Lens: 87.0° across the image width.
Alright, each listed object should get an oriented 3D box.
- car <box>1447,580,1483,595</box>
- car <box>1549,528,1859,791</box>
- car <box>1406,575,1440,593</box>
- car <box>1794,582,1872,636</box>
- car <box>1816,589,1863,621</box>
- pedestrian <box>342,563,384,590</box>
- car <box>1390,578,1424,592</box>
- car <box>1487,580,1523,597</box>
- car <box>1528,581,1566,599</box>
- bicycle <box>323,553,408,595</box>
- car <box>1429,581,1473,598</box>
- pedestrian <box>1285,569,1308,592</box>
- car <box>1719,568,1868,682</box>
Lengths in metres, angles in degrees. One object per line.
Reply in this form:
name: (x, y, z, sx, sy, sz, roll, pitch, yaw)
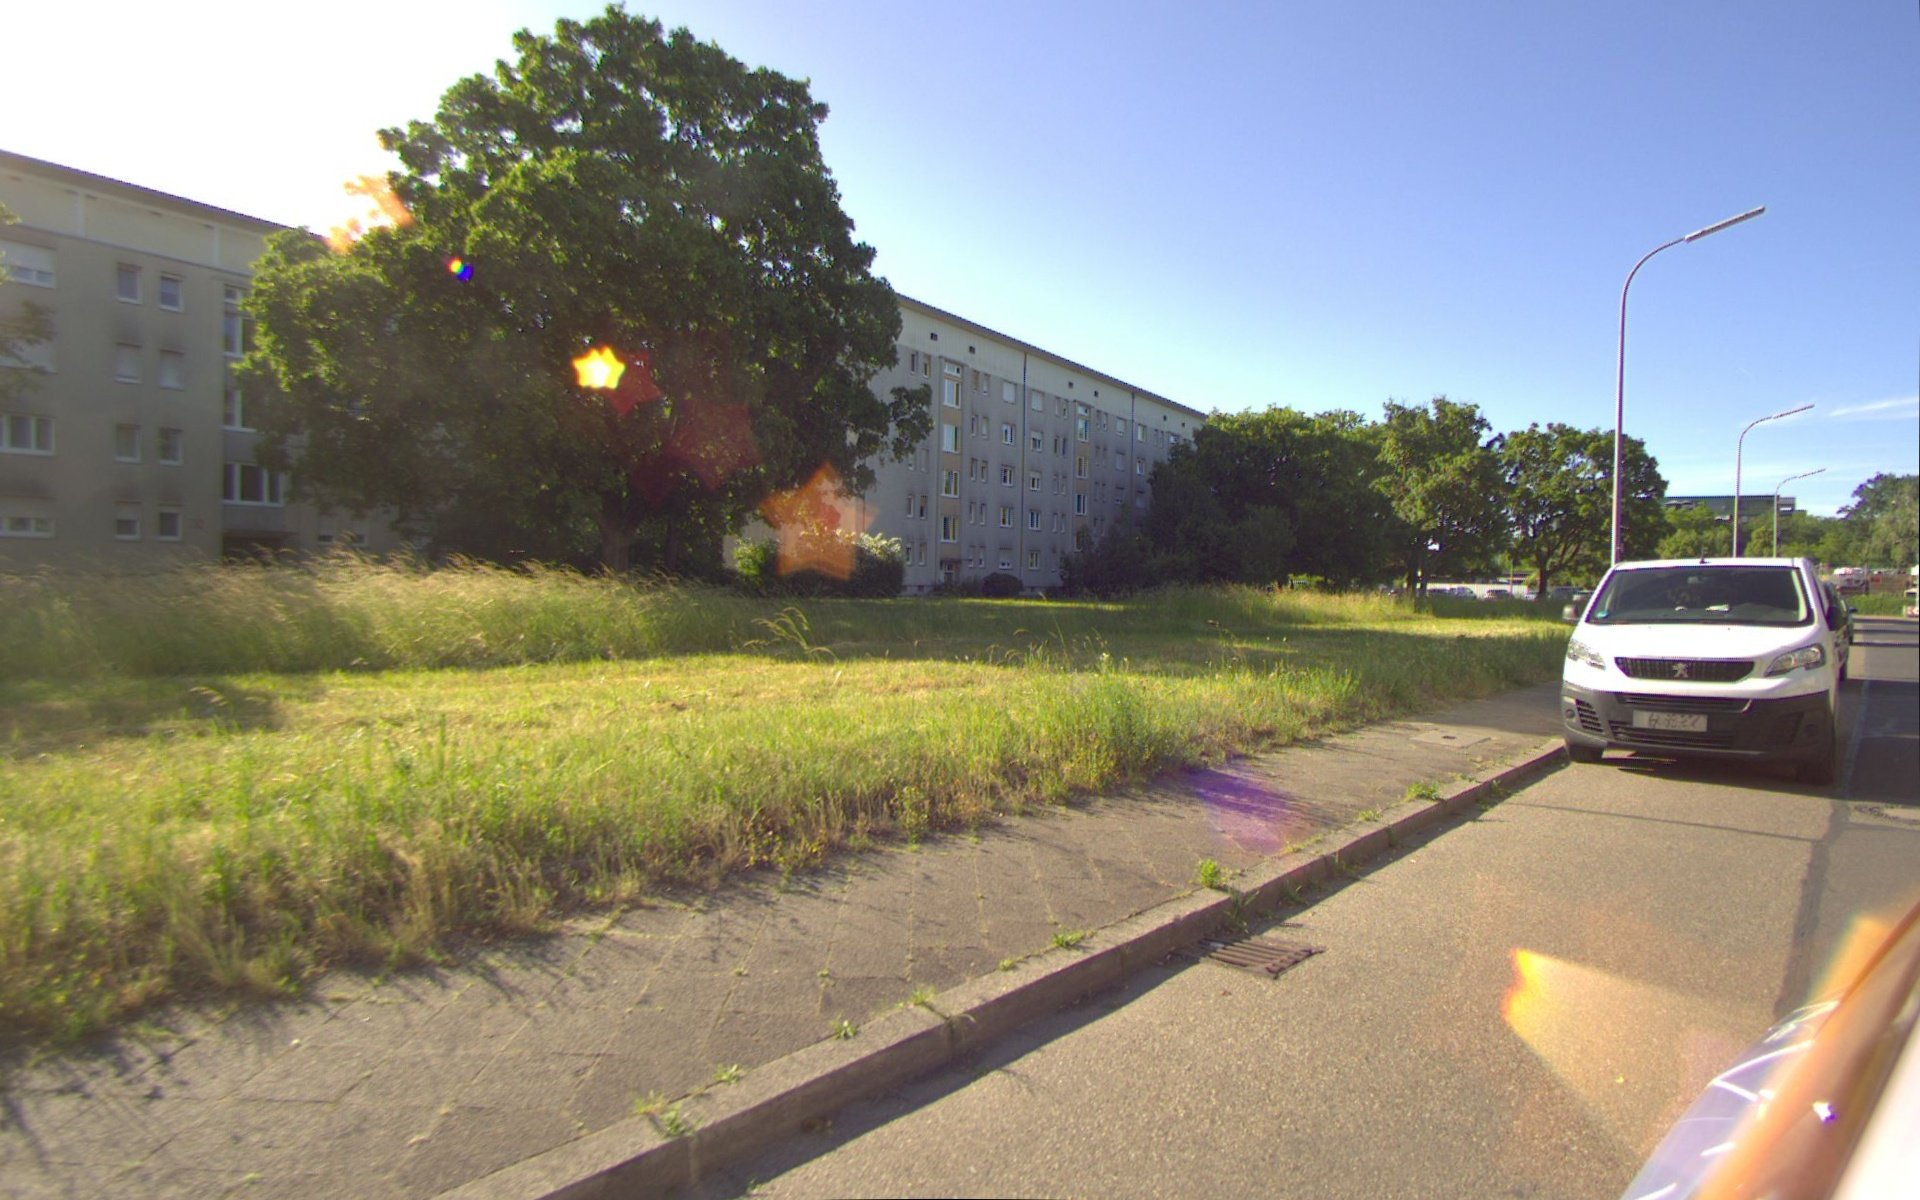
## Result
car: (57.768, -1.393, 115.680, 3.923, 1.580, 1.958, 0, 2, -34)
car: (7.329, 0.400, 9.736, 1.915, 1.895, 4.791, 1, 1, 42)
car: (54.991, -1.854, 120.087, 3.925, 2.038, 2.000, 0, 2, -37)
car: (28.956, 0.256, 33.677, 1.836, 1.672, 4.404, 1, 1, 40)
car: (42.241, 0.224, 48.605, 1.651, 1.499, 3.857, 0, 0, 42)
pedestrian: (-19.715, -0.759, 33.439, 0.740, 0.859, 0.992, 3, 2, 36)
car: (53.990, -1.758, 122.220, 3.923, 1.580, 1.958, 0, 2, -34)
car: (60.243, -1.264, 111.856, 3.924, 1.795, 1.958, -2, 3, -34)
car: (62.476, -1.026, 107.617, 3.923, 1.795, 1.958, 0, 2, -34)
bicycle: (-22.629, -0.996, 38.586, 0.778, 1.544, 2.719, 3, 3, 37)
car: (51.207, -1.107, 105.569, 1.960, 1.542, 3.644, 1, 2, -30)
pedestrian: (31.703, -1.844, 95.328, 1.671, 2.056, 1.487, 0, 2, -45)
car: (14.526, 0.361, 17.558, 1.698, 1.752, 4.019, 1, 1, 44)
